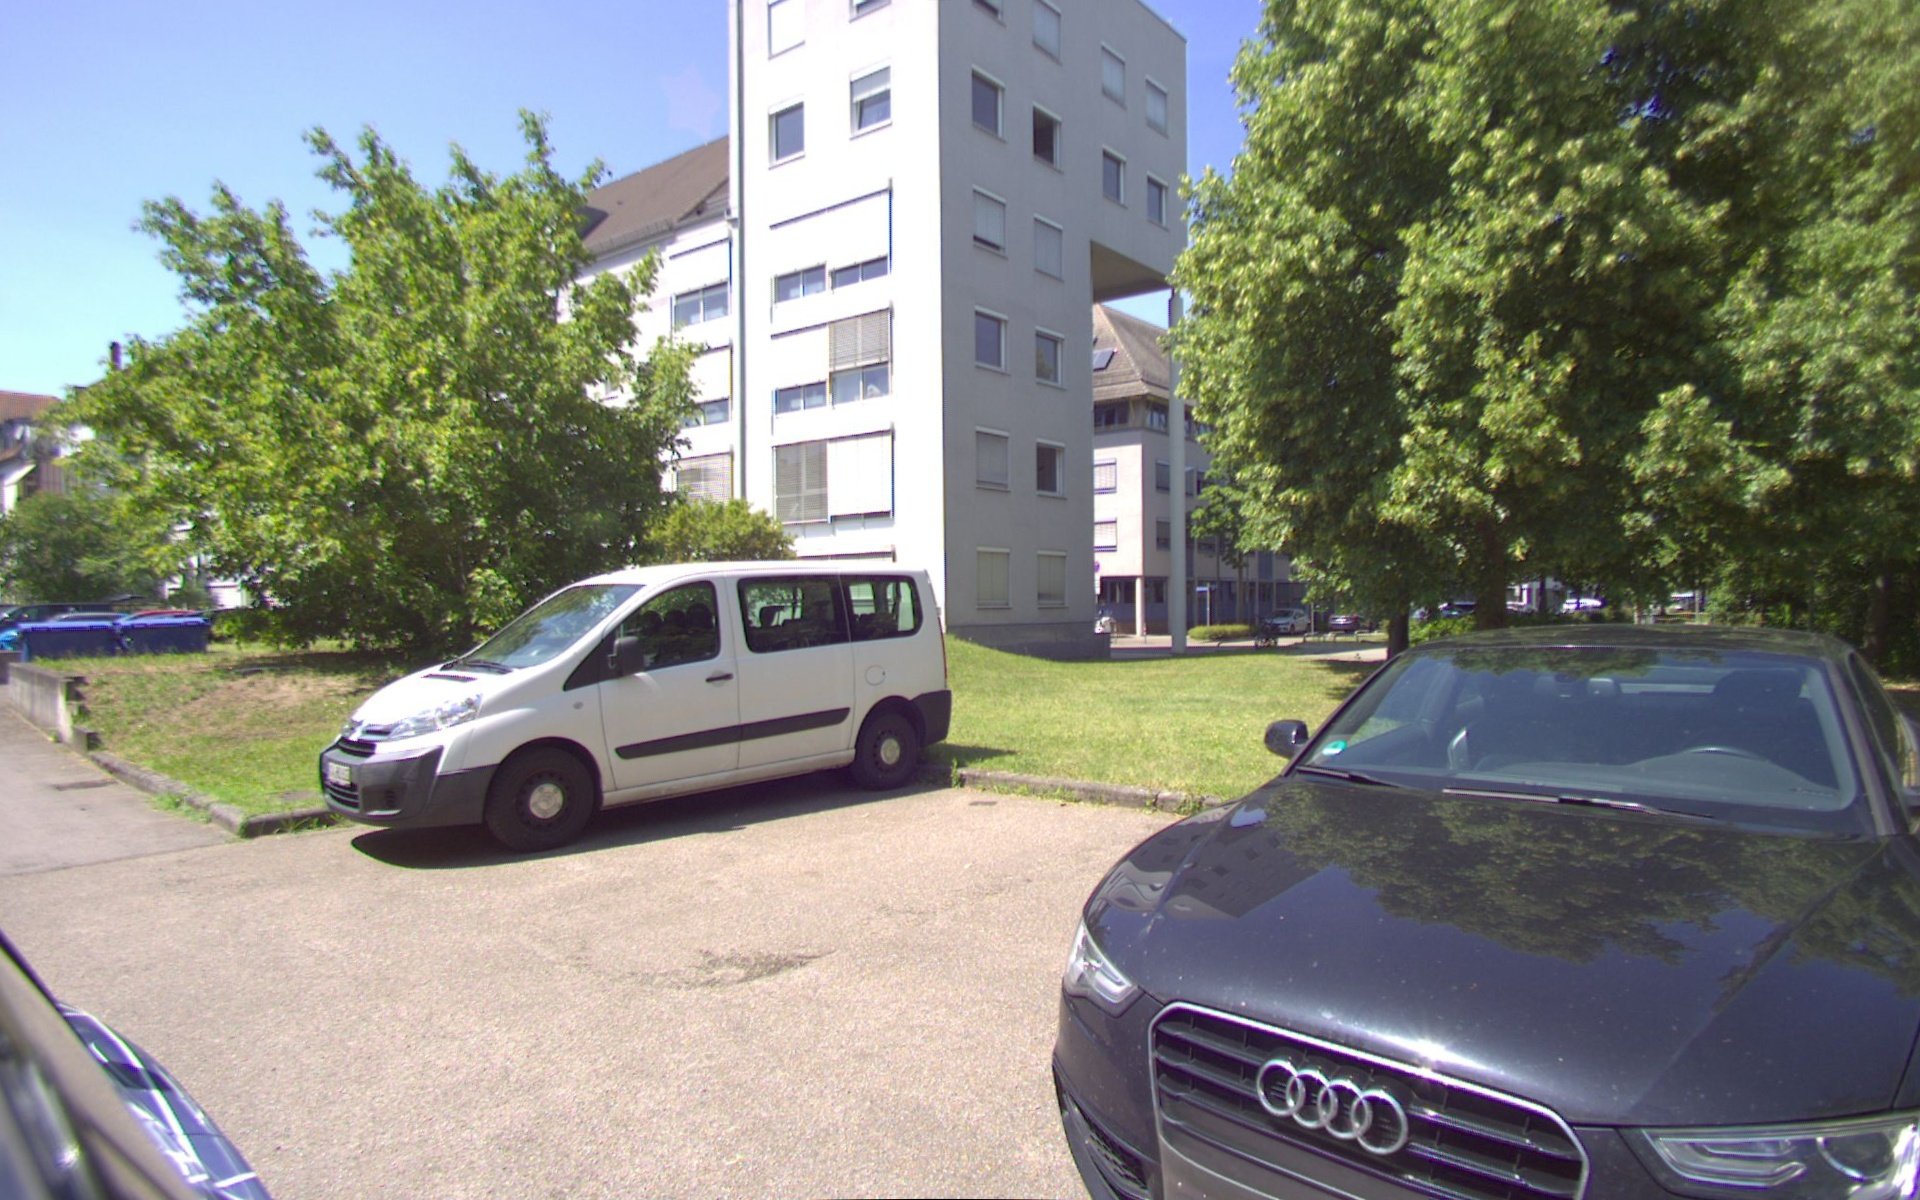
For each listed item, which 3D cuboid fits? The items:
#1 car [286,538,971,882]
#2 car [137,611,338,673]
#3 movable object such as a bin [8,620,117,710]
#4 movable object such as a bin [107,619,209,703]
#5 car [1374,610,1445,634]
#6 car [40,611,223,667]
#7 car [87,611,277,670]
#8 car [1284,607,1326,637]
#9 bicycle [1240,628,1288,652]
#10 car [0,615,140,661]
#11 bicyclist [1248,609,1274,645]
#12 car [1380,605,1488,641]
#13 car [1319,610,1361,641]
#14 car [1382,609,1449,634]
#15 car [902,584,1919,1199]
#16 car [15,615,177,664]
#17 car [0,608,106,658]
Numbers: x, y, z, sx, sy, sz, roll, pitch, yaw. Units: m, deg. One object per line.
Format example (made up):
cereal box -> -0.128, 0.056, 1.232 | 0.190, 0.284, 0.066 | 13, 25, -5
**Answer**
car -> -2.293, 0.603, 8.050 | 2.068, 1.897, 4.794 | 0, 0, 44
car -> -20.340, 1.118, 28.677 | 1.610, 1.580, 4.392 | 0, 0, 36
movable object such as a bin -> -15.029, 1.048, 16.952 | 1.095, 1.399, 1.255 | 0, 0, 42
movable object such as a bin -> -14.203, 1.045, 17.934 | 1.095, 1.399, 1.255 | 0, 0, 42
car -> 29.449, 1.420, 66.368 | 3.996, 1.541, 1.723 | 0, 0, 40
car -> -25.759, 1.169, 31.606 | 1.610, 1.580, 4.173 | 0, 0, 36
car -> -22.869, 1.126, 29.894 | 1.610, 1.580, 4.173 | 0, 0, 36
car -> 19.800, 1.221, 58.035 | 1.799, 1.615, 3.859 | 0, 0, 26
bicycle -> 9.085, 1.188, 30.194 | 0.734, 0.646, 1.594 | -4, -3, 42
car -> -33.345, 1.369, 37.618 | 1.610, 1.580, 4.173 | 0, 0, 36
bicyclist -> 8.930, 0.793, 30.046 | 0.518, 1.053, 0.515 | -5, -4, 44
car -> 22.605, 1.049, 48.349 | 4.337, 1.622, 1.908 | 0, 0, 40
car -> 21.060, 1.377, 56.064 | 1.799, 1.615, 3.859 | 0, 0, 26
car -> 30.928, 1.434, 68.755 | 3.891, 1.643, 1.514 | 0, 0, 40
car -> 2.115, 0.701, 3.216 | 2.024, 1.390, 4.380 | -3, -2, 43
car -> -30.668, 1.341, 36.037 | 1.610, 1.580, 4.173 | 0, 0, 36
car -> -35.938, 1.248, 39.113 | 2.006, 1.837, 4.173 | 0, 0, 36
